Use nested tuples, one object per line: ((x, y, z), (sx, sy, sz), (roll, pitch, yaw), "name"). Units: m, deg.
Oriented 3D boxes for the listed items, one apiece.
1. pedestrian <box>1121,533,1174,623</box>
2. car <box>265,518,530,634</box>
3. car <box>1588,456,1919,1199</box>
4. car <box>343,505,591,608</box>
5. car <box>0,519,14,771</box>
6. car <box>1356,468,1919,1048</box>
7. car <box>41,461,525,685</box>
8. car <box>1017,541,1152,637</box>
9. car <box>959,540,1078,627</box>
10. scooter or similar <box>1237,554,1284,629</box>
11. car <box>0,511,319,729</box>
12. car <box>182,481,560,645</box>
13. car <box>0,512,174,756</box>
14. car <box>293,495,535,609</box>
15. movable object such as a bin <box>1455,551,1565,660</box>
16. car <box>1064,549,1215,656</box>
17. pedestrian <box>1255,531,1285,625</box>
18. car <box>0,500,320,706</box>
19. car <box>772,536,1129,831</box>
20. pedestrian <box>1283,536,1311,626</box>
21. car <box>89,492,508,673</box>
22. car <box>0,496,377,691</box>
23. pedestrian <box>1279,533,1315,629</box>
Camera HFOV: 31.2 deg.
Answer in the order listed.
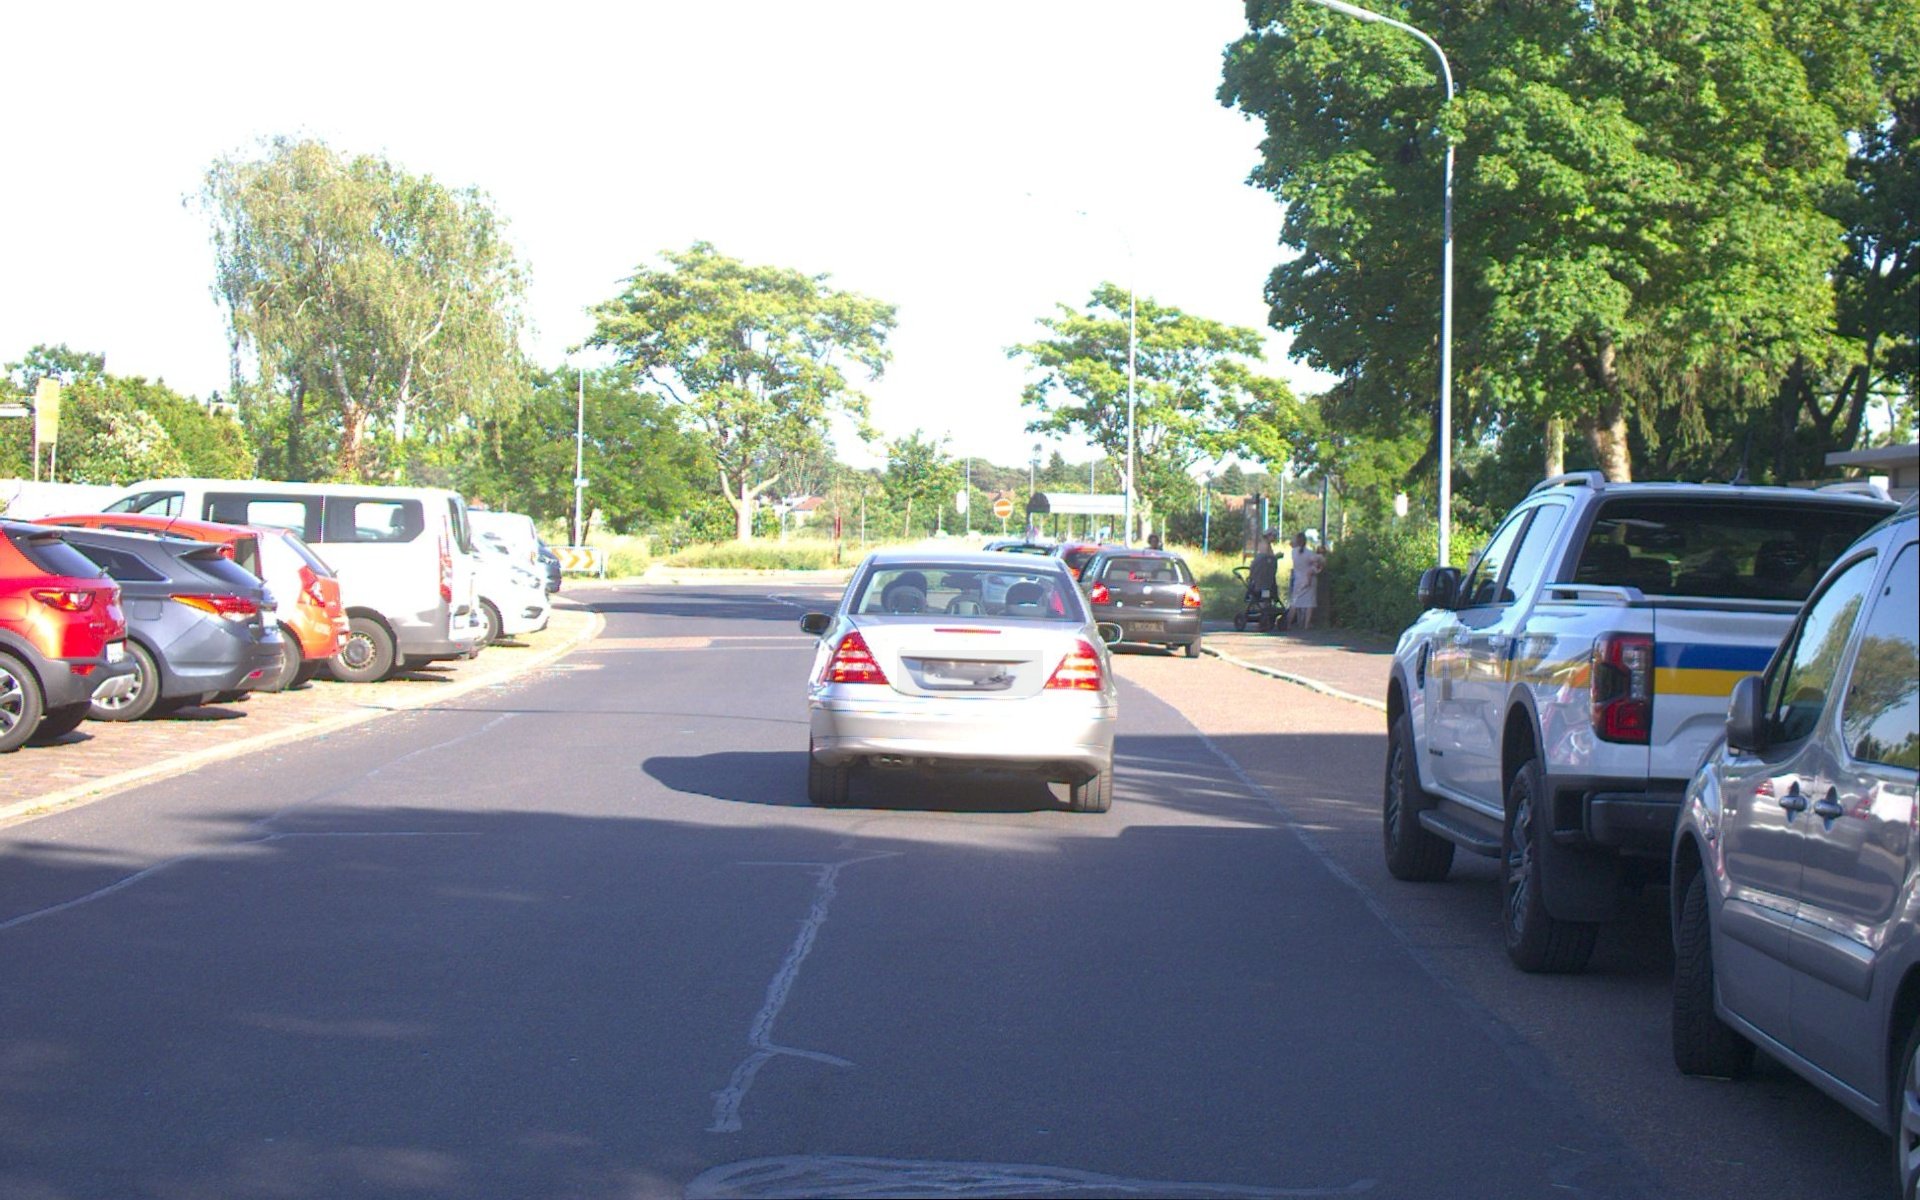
((3.353, -0.400, 61.565), (0.787, 1.559, 0.570), (3, 0, -5), "pedestrian")
((-8.076, -0.341, 49.532), (3.513, 1.441, 1.637), (3, 0, -2), "car")
((2.988, 0.595, 8.557), (1.833, 1.785, 4.556), (3, 2, -1), "car")
((-10.011, -0.881, 69.828), (4.870, 1.909, 2.001), (2, 0, -9), "car")
((-7.669, 0.162, 19.533), (4.018, 1.507, 1.906), (3, 0, -2), "car")
((2.946, 0.464, 13.878), (1.906, 1.834, 5.275), (3, 2, -1), "car")
((-6.845, -0.271, 35.133), (4.478, 1.970, 2.000), (3, 0, -1), "car")
((1.980, -0.192, 55.529), (1.575, 1.441, 3.789), (2, 0, -7), "car")
((1.076, -0.328, 65.174), (1.731, 1.537, 3.789), (2, 0, -7), "car")
((4.895, -0.141, 56.062), (0.622, 1.223, 0.905), (0, 0, -5), "scooter or similar")
((-7.407, 0.070, 26.466), (4.544, 1.474, 1.748), (3, 1, 0), "car")
((-7.951, -0.498, 46.794), (4.788, 1.914, 2.082), (3, 0, -4), "car")
((-7.394, 0.112, 22.570), (3.987, 1.474, 1.791), (3, 1, 0), "car")
((-9.376, -0.845, 59.243), (3.976, 1.774, 1.926), (2, 1, -8), "car")
((7.274, 0.067, 45.534), (1.237, 1.398, 0.915), (1, 0, -3), "movable object such as a bin")
((2.460, 0.018, 47.849), (1.647, 1.398, 3.882), (1, 0, -3), "car")
((5.154, -0.367, 57.214), (0.481, 1.559, 0.597), (0, 0, 6), "pedestrian")
((-7.510, -0.024, 29.515), (3.602, 1.562, 1.881), (3, 1, 0), "car")
((-0.053, 0.397, 20.195), (1.816, 1.458, 4.361), (2, 1, 0), "car")
((5.652, -0.312, 57.665), (0.361, 1.498, 0.501), (0, 0, -7), "pedestrian")
((-7.187, -0.192, 37.643), (4.151, 1.700, 1.884), (3, 0, 0), "car")
((-7.428, -0.084, 32.019), (3.602, 1.562, 1.852), (3, 1, 0), "car")
((5.498, -0.313, 56.058), (0.485, 1.559, 0.469), (0, 0, -8), "pedestrian")
